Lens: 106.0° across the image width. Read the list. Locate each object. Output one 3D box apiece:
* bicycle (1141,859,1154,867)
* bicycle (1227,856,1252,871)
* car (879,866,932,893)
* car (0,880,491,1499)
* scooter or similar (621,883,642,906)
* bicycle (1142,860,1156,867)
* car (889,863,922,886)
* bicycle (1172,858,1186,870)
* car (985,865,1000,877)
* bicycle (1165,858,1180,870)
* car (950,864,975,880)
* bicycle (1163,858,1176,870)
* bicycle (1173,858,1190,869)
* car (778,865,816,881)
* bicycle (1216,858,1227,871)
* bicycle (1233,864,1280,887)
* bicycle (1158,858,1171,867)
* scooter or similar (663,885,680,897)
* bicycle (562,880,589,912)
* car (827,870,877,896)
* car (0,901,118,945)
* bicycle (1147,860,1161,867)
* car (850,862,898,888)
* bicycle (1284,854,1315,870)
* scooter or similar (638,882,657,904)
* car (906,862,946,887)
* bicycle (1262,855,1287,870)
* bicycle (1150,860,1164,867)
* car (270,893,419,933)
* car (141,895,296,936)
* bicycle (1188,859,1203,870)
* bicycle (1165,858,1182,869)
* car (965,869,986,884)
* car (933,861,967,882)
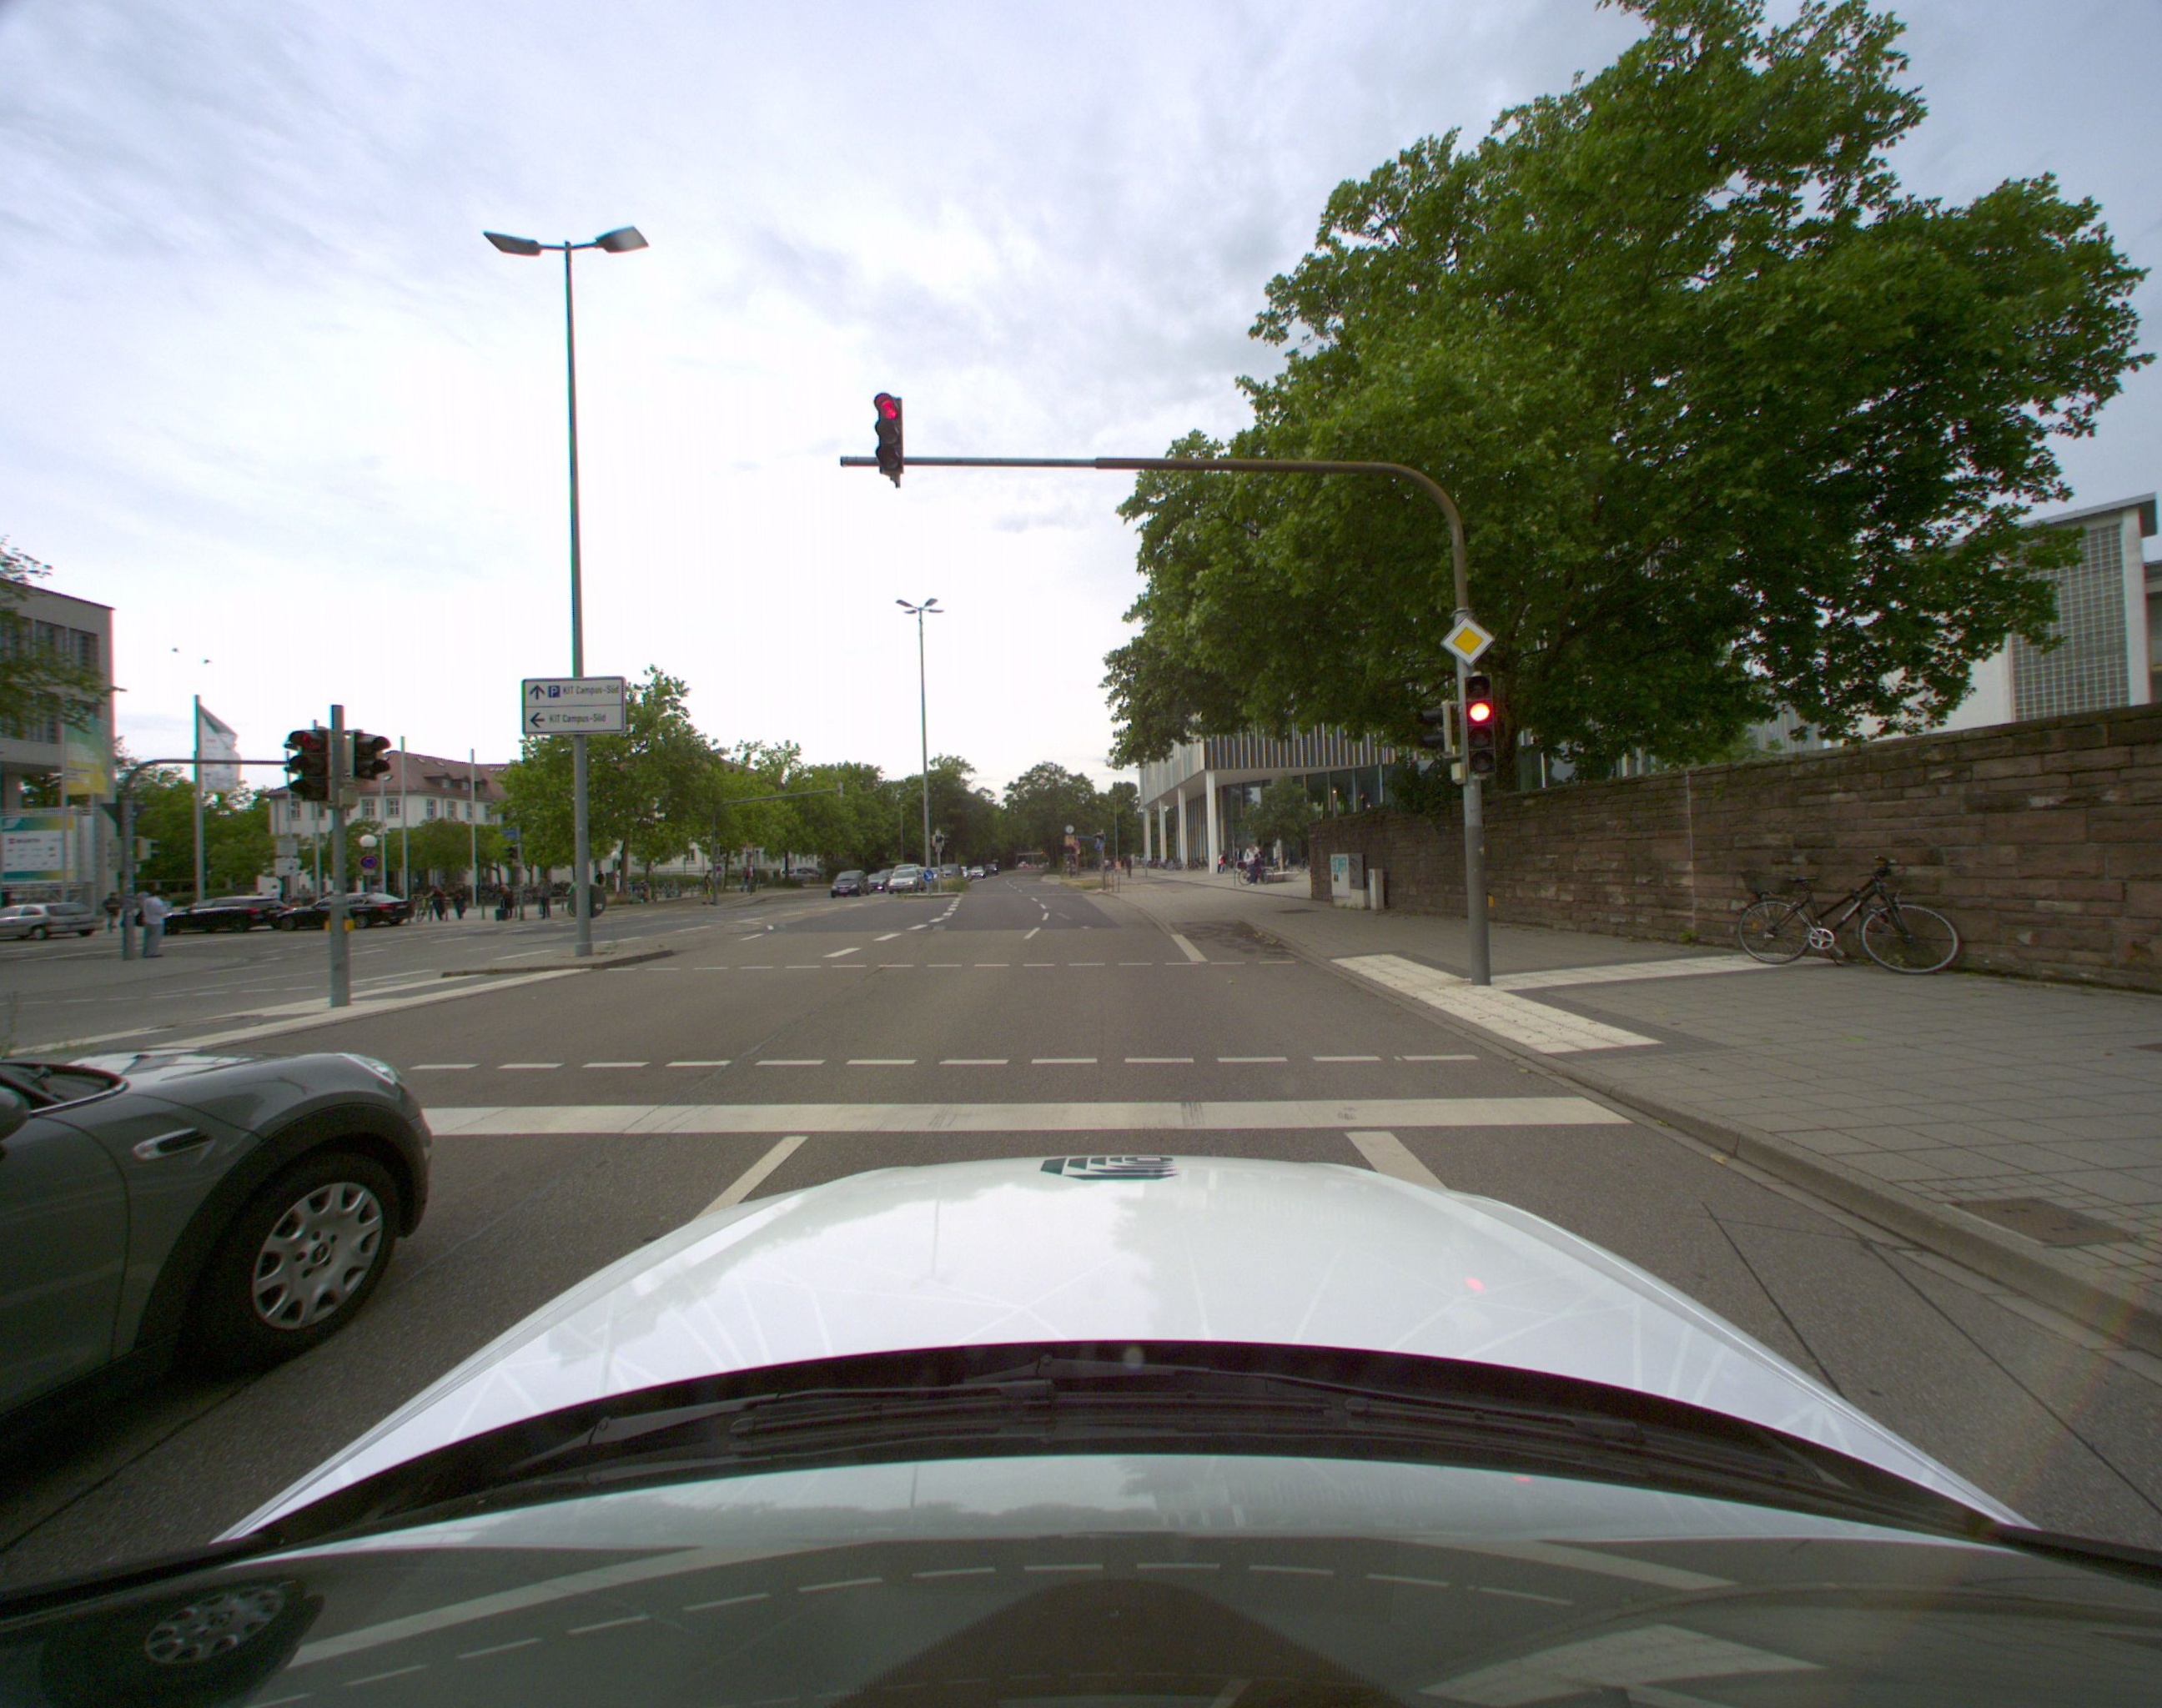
[{"bbox_3d":[8.586,1.129,104.591,1.602,0.875,0.556,-3,-1,-2],"label":"bicycle"},{"bbox_3d":[12.133,0.718,62.379,0.727,1.115,2.196,-3,-1,45],"label":"bicycle"},{"bbox_3d":[-10.833,1.553,50.559,1.984,1.529,4.279,-2,0,4],"label":"car"},{"bbox_3d":[-3.212,0.783,1.368,1.615,1.318,3.707,-2,0,2],"label":"car"},{"bbox_3d":[-23.839,2.147,43.224,0.359,1.140,1.318,-3,-1,-2],"label":"scooter or similar"},{"bbox_3d":[8.635,1.199,103.633,1.602,0.875,0.556,-3,-1,-2],"label":"bicycle"},{"bbox_3d":[-14.531,1.667,67.661,1.766,1.848,4.487,0,-1,0],"label":"car"},{"bbox_3d":[9.215,0.954,76.651,0.608,1.080,1.954,-4,0,-13],"label":"bicycle"},{"bbox_3d":[-12.847,2.462,118.450,1.898,1.593,4.512,-3,-1,-2],"label":"car"},{"bbox_3d":[9.306,1.005,83.050,1.396,1.043,0.559,-4,-1,-2],"label":"bicycle"},{"bbox_3d":[-11.565,1.776,79.685,1.899,1.465,4.906,0,0,-2],"label":"car"},{"bbox_3d":[8.624,0.959,79.429,0.635,1.140,2.196,-5,0,-6],"label":"bicycle"},{"bbox_3d":[10.170,0.936,82.264,1.597,0.936,0.570,-5,0,8],"label":"bicycle"},{"bbox_3d":[-30.334,1.998,87.018,3.579,1.602,1.649,0,-1,-5],"label":"car"},{"bbox_3d":[11.105,0.822,64.478,0.636,1.061,1.841,0,-1,2],"label":"bicycle"},{"bbox_3d":[8.059,0.980,37.533,1.950,1.018,0.801,-1,-1,37],"label":"bicycle"},{"bbox_3d":[9.235,0.919,90.001,1.280,0.875,0.556,-3,-1,-2],"label":"bicycle"},{"bbox_3d":[-25.449,2.305,50.617,0.405,0.693,1.289,0,-1,1],"label":"scooter or similar"},{"bbox_3d":[-22.433,1.831,36.149,0.607,1.333,2.294,0,-1,-21],"label":"bicycle"},{"bbox_3d":[-13.927,1.741,49.760,1.845,1.463,3.698,-2,0,2],"label":"car"},{"bbox_3d":[-42.134,2.766,32.868,3.979,1.580,1.997,0,-1,-4],"label":"car"},{"bbox_3d":[9.181,1.195,102.053,1.602,0.875,0.556,-3,-1,-2],"label":"bicycle"},{"bbox_3d":[-14.137,1.436,55.880,1.984,1.619,4.005,-2,0,4],"label":"car"},{"bbox_3d":[15.225,0.551,56.649,2.200,1.006,0.774,-2,-3,-32],"label":"bicycle"},{"bbox_3d":[-23.866,2.161,44.844,0.359,1.140,1.318,-3,-1,-2],"label":"scooter or similar"},{"bbox_3d":[-11.230,1.465,59.176,1.950,1.584,4.256,-3,0,1],"label":"car"},{"bbox_3d":[14.060,0.611,59.125,1.971,1.002,0.765,-2,-1,-44],"label":"bicycle"},{"bbox_3d":[9.400,1.169,100.874,1.602,0.875,0.556,-3,-1,-2],"label":"bicycle"},{"bbox_3d":[-30.367,2.417,33.710,4.136,1.472,1.996,0,-1,-6],"label":"car"},{"bbox_3d":[-35.146,2.484,33.299,3.982,1.472,1.996,0,-1,-6],"label":"car"},{"bbox_3d":[10.525,0.936,74.881,1.496,0.929,0.435,-3,1,-41],"label":"bicycle"},{"bbox_3d":[9.515,0.992,83.628,1.602,0.982,0.556,-5,-1,-2],"label":"bicycle"},{"bbox_3d":[-12.638,2.688,97.514,1.989,1.547,4.176,-4,-1,-2],"label":"car"},{"bbox_3d":[-11.496,1.521,71.771,1.986,1.687,4.949,-1,0,1],"label":"car"}]
